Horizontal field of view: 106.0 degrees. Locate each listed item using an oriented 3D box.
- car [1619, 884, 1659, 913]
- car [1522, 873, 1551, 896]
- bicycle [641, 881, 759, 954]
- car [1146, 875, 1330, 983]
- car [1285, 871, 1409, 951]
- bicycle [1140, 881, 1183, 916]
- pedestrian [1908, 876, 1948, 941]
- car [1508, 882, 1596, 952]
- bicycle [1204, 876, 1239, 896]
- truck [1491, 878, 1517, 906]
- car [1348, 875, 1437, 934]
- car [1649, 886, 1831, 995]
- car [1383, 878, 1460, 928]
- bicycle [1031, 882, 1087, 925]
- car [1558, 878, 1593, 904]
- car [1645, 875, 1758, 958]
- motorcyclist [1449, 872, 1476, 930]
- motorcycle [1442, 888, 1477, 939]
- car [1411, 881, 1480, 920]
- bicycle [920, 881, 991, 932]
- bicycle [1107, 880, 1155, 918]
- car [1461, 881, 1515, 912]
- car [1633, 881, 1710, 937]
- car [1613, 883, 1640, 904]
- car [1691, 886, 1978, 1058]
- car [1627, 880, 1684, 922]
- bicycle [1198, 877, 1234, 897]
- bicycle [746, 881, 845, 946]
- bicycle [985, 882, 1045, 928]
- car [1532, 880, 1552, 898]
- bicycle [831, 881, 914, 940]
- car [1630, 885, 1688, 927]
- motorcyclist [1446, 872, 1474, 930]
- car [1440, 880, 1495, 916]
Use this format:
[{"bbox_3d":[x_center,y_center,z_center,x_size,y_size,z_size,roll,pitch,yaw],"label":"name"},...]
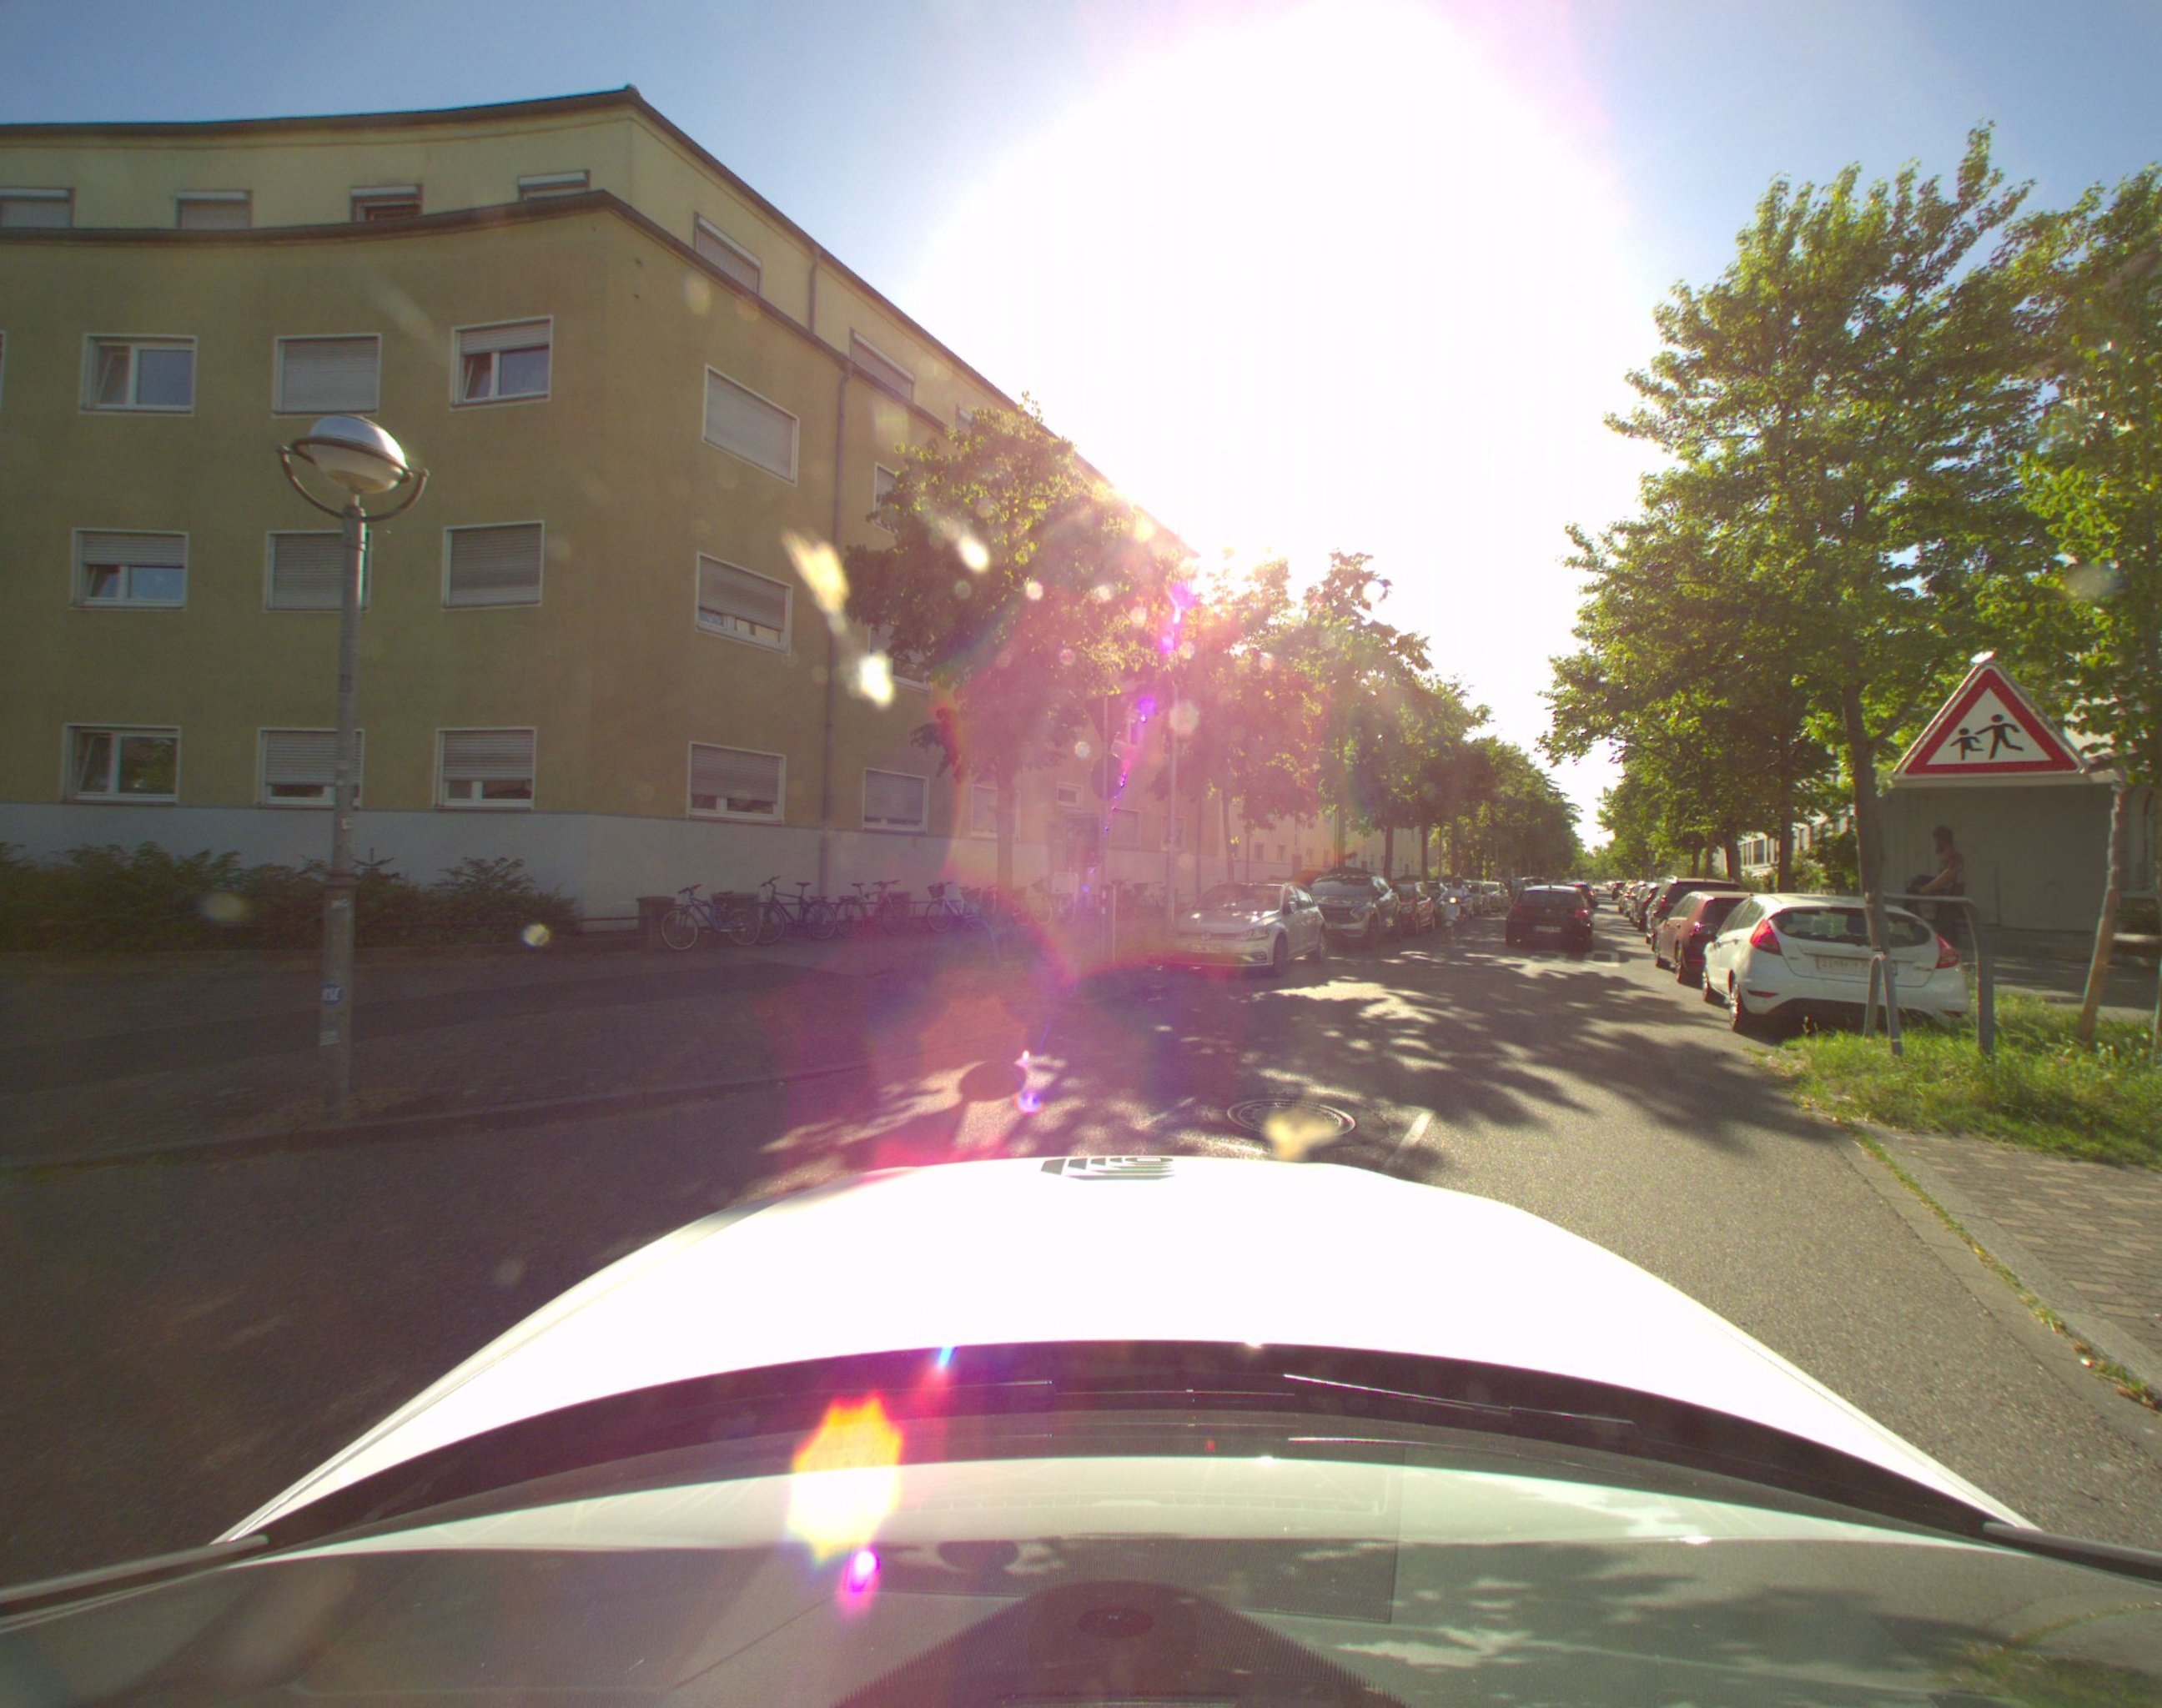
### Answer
[{"bbox_3d":[29.940,2.347,43.750,1.621,1.455,4.125,0,-1,33],"label":"car"},{"bbox_3d":[40.231,2.695,71.830,1.808,1.905,5.173,-1,-2,33],"label":"car"},{"bbox_3d":[-5.638,0.912,12.141,0.471,1.001,1.554,0,-1,33],"label":"bicycle"},{"bbox_3d":[2.738,1.102,13.401,1.743,1.442,4.018,1,-1,30],"label":"car"},{"bbox_3d":[6.264,1.210,18.814,1.675,1.565,4.764,1,-1,31],"label":"car"},{"bbox_3d":[2.500,1.343,25.129,0.530,1.027,1.759,0,-1,34],"label":"bicycle"},{"bbox_3d":[23.902,1.513,22.984,0.616,1.775,0.804,0,-2,33],"label":"pedestrian"},{"bbox_3d":[10.920,1.372,18.789,1.633,1.397,3.432,0,-2,32],"label":"car"},{"bbox_3d":[6.973,1.574,40.501,1.617,0.931,0.484,0,-2,25],"label":"bicycle"},{"bbox_3d":[25.380,2.273,48.832,1.073,1.577,2.447,0,-2,35],"label":"truck"},{"bbox_3d":[8.745,1.355,22.700,1.649,1.486,3.276,0,-1,33],"label":"car"},{"bbox_3d":[10.594,1.268,13.402,1.596,1.410,4.377,1,-1,29],"label":"car"},{"bbox_3d":[11.303,1.561,26.911,1.649,1.459,3.957,0,-1,33],"label":"car"},{"bbox_3d":[-0.531,1.189,19.967,0.510,1.001,1.554,0,-1,36],"label":"bicycle"},{"bbox_3d":[28.473,2.109,46.910,1.633,1.426,4.025,0,-2,31],"label":"car"},{"bbox_3d":[14.578,1.371,19.334,1.763,1.698,4.324,0,-2,32],"label":"car"},{"bbox_3d":[9.647,1.187,20.593,0.538,1.426,0.406,1,-2,32],"label":"motorcyclist"},{"bbox_3d":[9.422,1.455,20.249,0.547,1.175,1.642,1,-1,32],"label":"motorcycle"},{"bbox_3d":[14.205,1.762,31.594,1.728,1.369,4.703,0,-2,33],"label":"car"},{"bbox_3d":[-2.602,1.074,17.056,0.430,1.001,1.692,0,-1,33],"label":"bicycle"},{"bbox_3d":[1.454,1.284,23.490,0.535,1.027,1.759,0,-1,34],"label":"bicycle"},{"bbox_3d":[20.656,2.101,41.259,1.774,1.445,4.717,-1,-2,34],"label":"car"},{"bbox_3d":[19.590,1.759,27.181,1.668,1.588,4.563,3,0,31],"label":"car"},{"bbox_3d":[47.388,3.430,70.729,1.830,1.631,4.437,2,-1,34],"label":"car"},{"bbox_3d":[8.129,1.103,9.203,1.637,1.402,4.161,1,-1,32],"label":"car"},{"bbox_3d":[24.608,1.980,35.005,1.633,1.655,3.870,1,-1,30],"label":"car"},{"bbox_3d":[6.371,1.552,38.435,1.617,0.931,0.484,0,-2,30],"label":"bicycle"},{"bbox_3d":[-4.700,0.954,13.503,0.470,1.001,1.554,0,-1,33],"label":"bicycle"},{"bbox_3d":[-1.490,1.142,18.591,0.506,1.001,1.554,0,-1,33],"label":"bicycle"},{"bbox_3d":[43.296,3.264,76.442,1.597,1.611,4.255,-1,-2,30],"label":"car"},{"bbox_3d":[-3.789,1.009,14.930,0.449,1.001,1.554,0,-1,33],"label":"bicycle"},{"bbox_3d":[21.998,1.938,31.127,1.614,1.425,4.395,0,-2,33],"label":"car"},{"bbox_3d":[9.388,1.153,20.194,0.547,1.403,0.523,1,-2,32],"label":"motorcyclist"},{"bbox_3d":[17.439,1.954,36.613,1.604,1.516,4.295,-2,-3,34],"label":"car"}]
